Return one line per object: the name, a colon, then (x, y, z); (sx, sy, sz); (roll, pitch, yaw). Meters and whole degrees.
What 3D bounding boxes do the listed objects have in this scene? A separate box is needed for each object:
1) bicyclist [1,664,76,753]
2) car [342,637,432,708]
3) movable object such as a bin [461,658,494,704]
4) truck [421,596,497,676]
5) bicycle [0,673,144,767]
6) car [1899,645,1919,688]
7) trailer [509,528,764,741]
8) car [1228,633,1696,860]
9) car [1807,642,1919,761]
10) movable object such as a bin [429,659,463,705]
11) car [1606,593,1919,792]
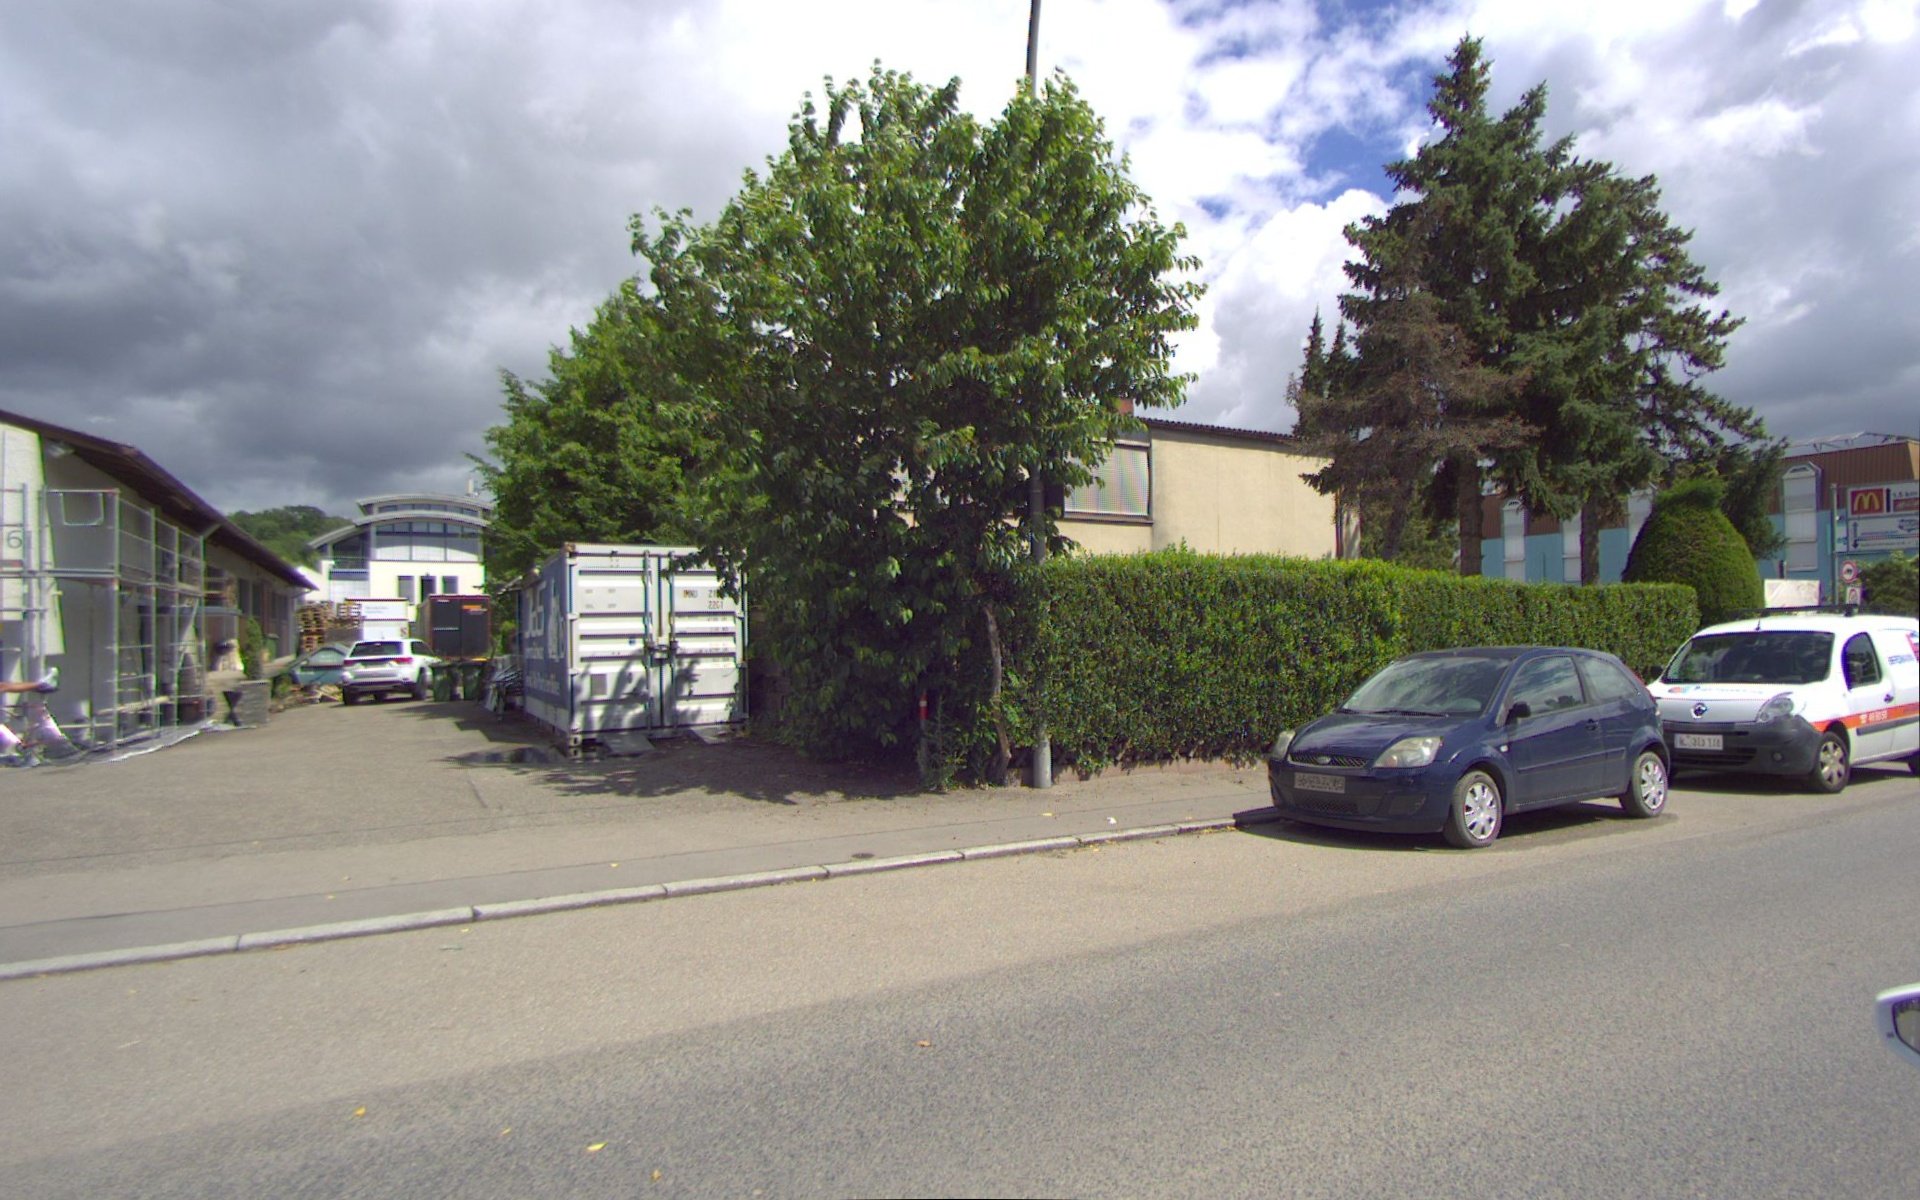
bicyclist: (-11.759, 1.369, 12.826); (0.603, 1.075, 0.476); (1, 0, -30)
car: (-16.216, 2.028, 28.595); (1.974, 1.750, 3.974); (-3, -2, -27)
movable object such as a bin: (-12.994, 2.169, 27.061); (0.745, 1.157, 0.604); (1, 0, -31)
truck: (-24.128, 1.606, 48.259); (2.773, 3.546, 6.172); (1, 0, -31)
bicycle: (-11.818, 1.524, 12.782); (2.159, 1.100, 0.468); (1, 0, -31)
car: (30.111, 2.026, 29.049); (1.850, 1.220, 3.966); (1, 0, -31)
trailer: (-5.426, 0.659, 16.058); (2.699, 2.686, 6.216); (1, -4, -29)
car: (4.297, 1.076, 8.461); (3.955, 1.506, 1.632); (1, -5, -32)
car: (13.905, 1.331, 14.051); (4.592, 1.491, 1.735); (1, -5, -32)
movable object such as a bin: (-13.647, 2.165, 26.659); (0.745, 1.157, 0.604); (1, 0, -31)
car: (9.380, 0.974, 11.349); (4.307, 1.861, 1.735); (1, -5, -32)
